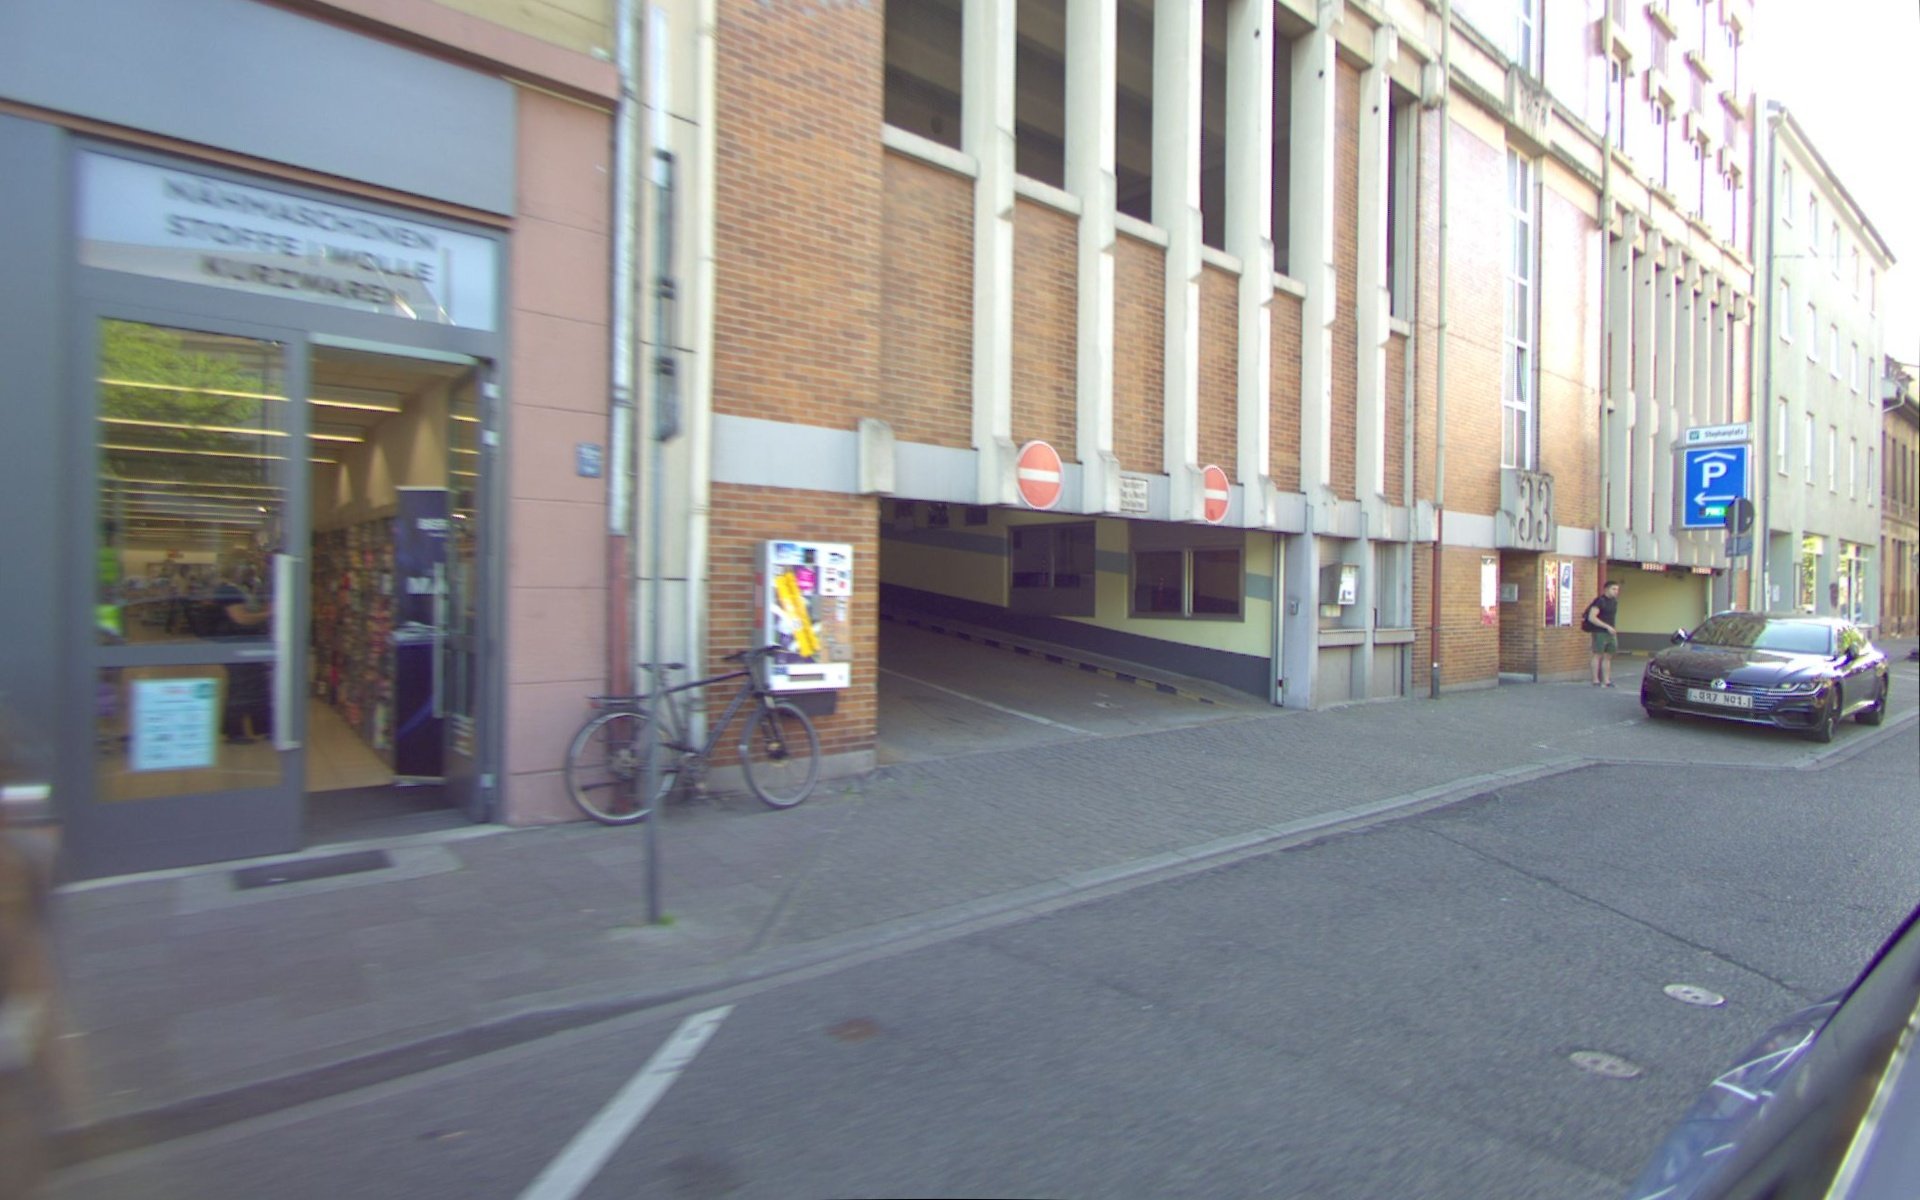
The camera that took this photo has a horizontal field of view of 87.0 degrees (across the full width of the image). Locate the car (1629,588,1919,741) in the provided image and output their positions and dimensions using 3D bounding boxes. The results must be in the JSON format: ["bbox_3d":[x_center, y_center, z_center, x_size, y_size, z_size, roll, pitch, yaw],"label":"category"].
[{"bbox_3d":[10.688,0.684,13.131,4.875,1.496,1.923,0,5,-39],"label":"car"}]

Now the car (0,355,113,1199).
[{"bbox_3d":[-3.474,0.598,0.412,4.737,1.747,1.977,0,-1,-39],"label":"car"}]

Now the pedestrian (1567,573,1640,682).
[{"bbox_3d":[10.308,0.417,16.209,0.873,1.655,0.693,0,3,-40],"label":"pedestrian"}]

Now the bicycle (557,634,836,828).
[{"bbox_3d":[-1.655,0.786,6.574,1.759,1.057,0.359,0,3,-40],"label":"bicycle"}]
